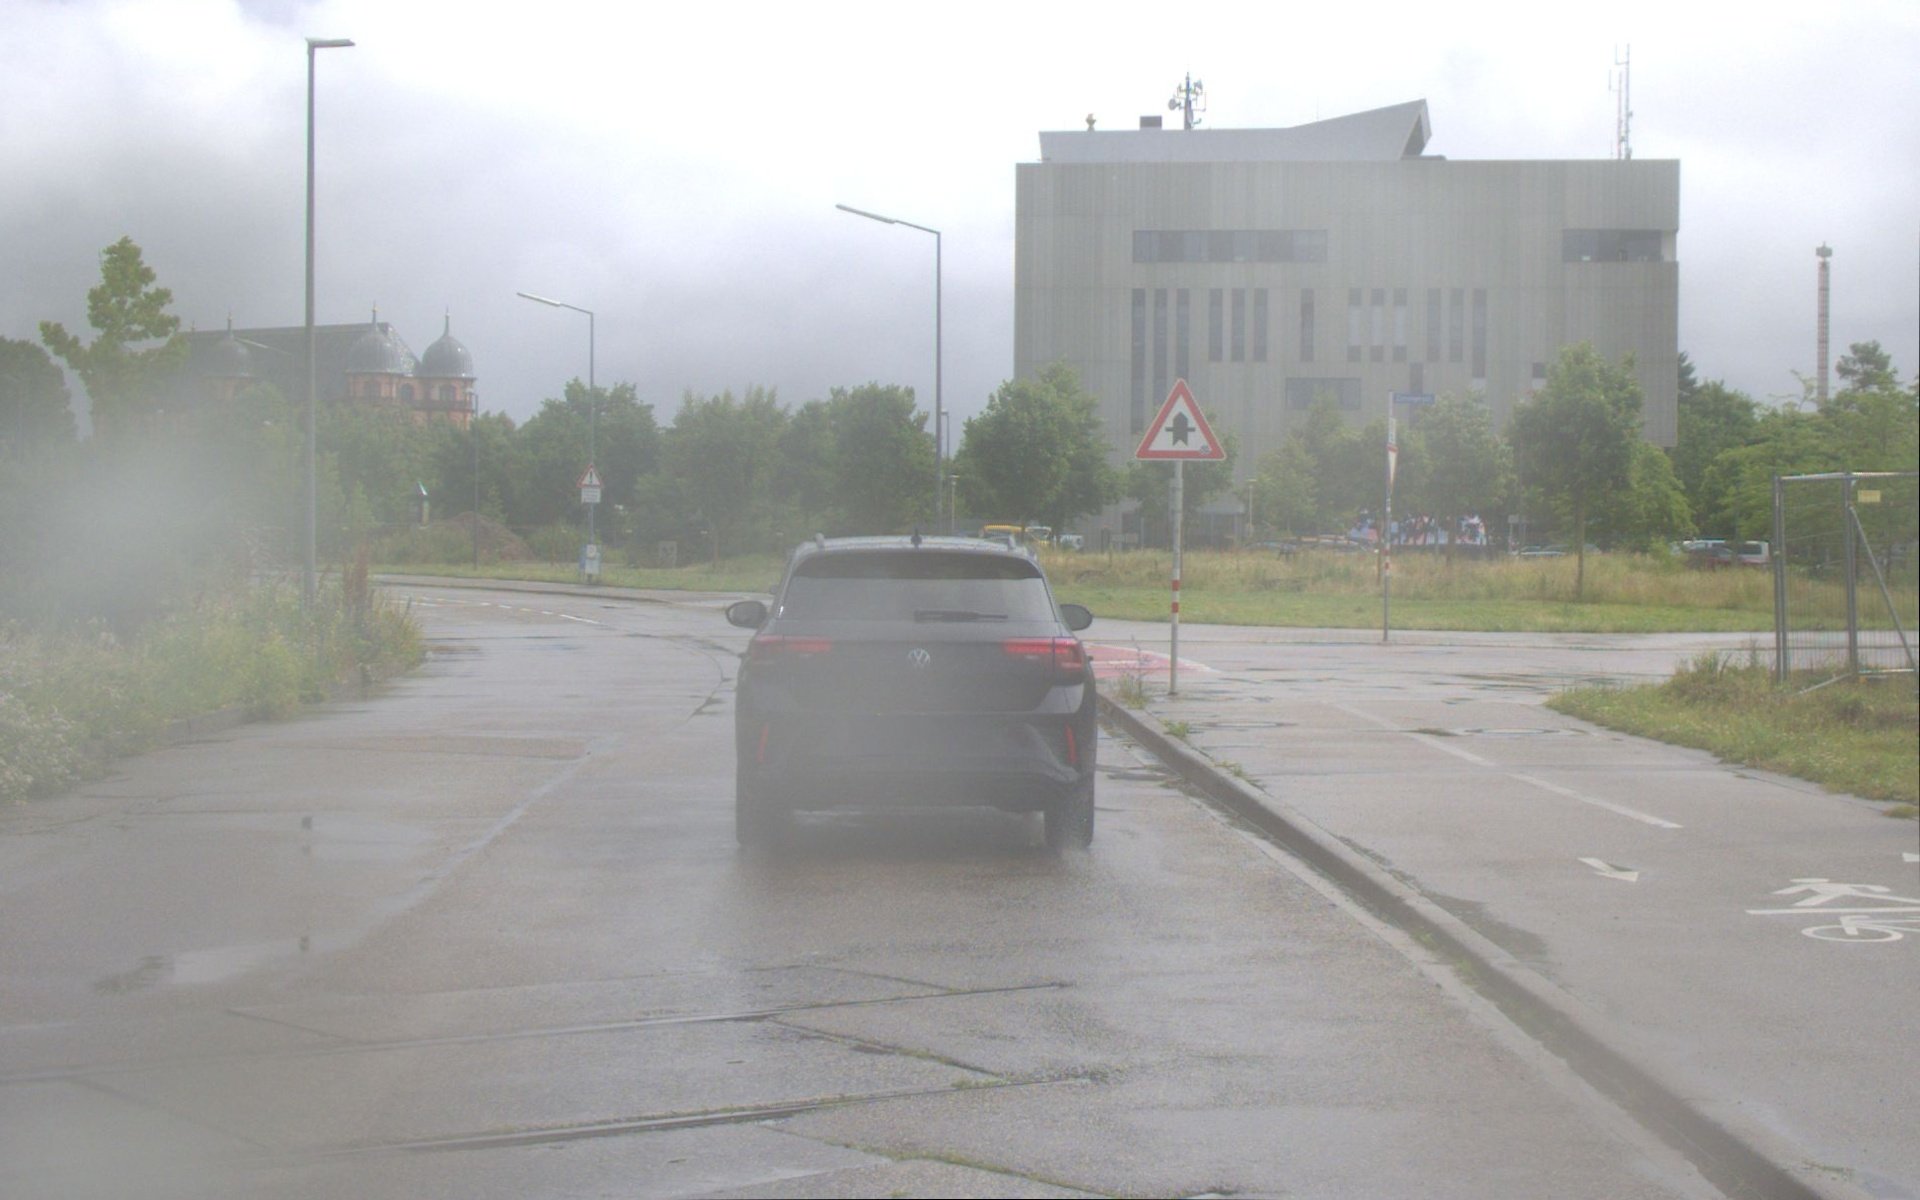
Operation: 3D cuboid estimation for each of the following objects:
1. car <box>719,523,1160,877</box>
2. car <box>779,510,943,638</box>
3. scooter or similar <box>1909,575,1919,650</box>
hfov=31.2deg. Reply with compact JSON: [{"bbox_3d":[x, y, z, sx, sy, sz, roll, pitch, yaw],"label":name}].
[{"bbox_3d":[-0.207,0.420,18.048,1.987,1.515,4.001,-3,2,-3],"label":"car"},{"bbox_3d":[-1.263,-0.346,42.211,1.841,1.437,4.001,-2,1,-4],"label":"car"},{"bbox_3d":[15.990,0.196,55.433,1.280,1.183,0.503,-1,3,-21],"label":"scooter or similar"}]
